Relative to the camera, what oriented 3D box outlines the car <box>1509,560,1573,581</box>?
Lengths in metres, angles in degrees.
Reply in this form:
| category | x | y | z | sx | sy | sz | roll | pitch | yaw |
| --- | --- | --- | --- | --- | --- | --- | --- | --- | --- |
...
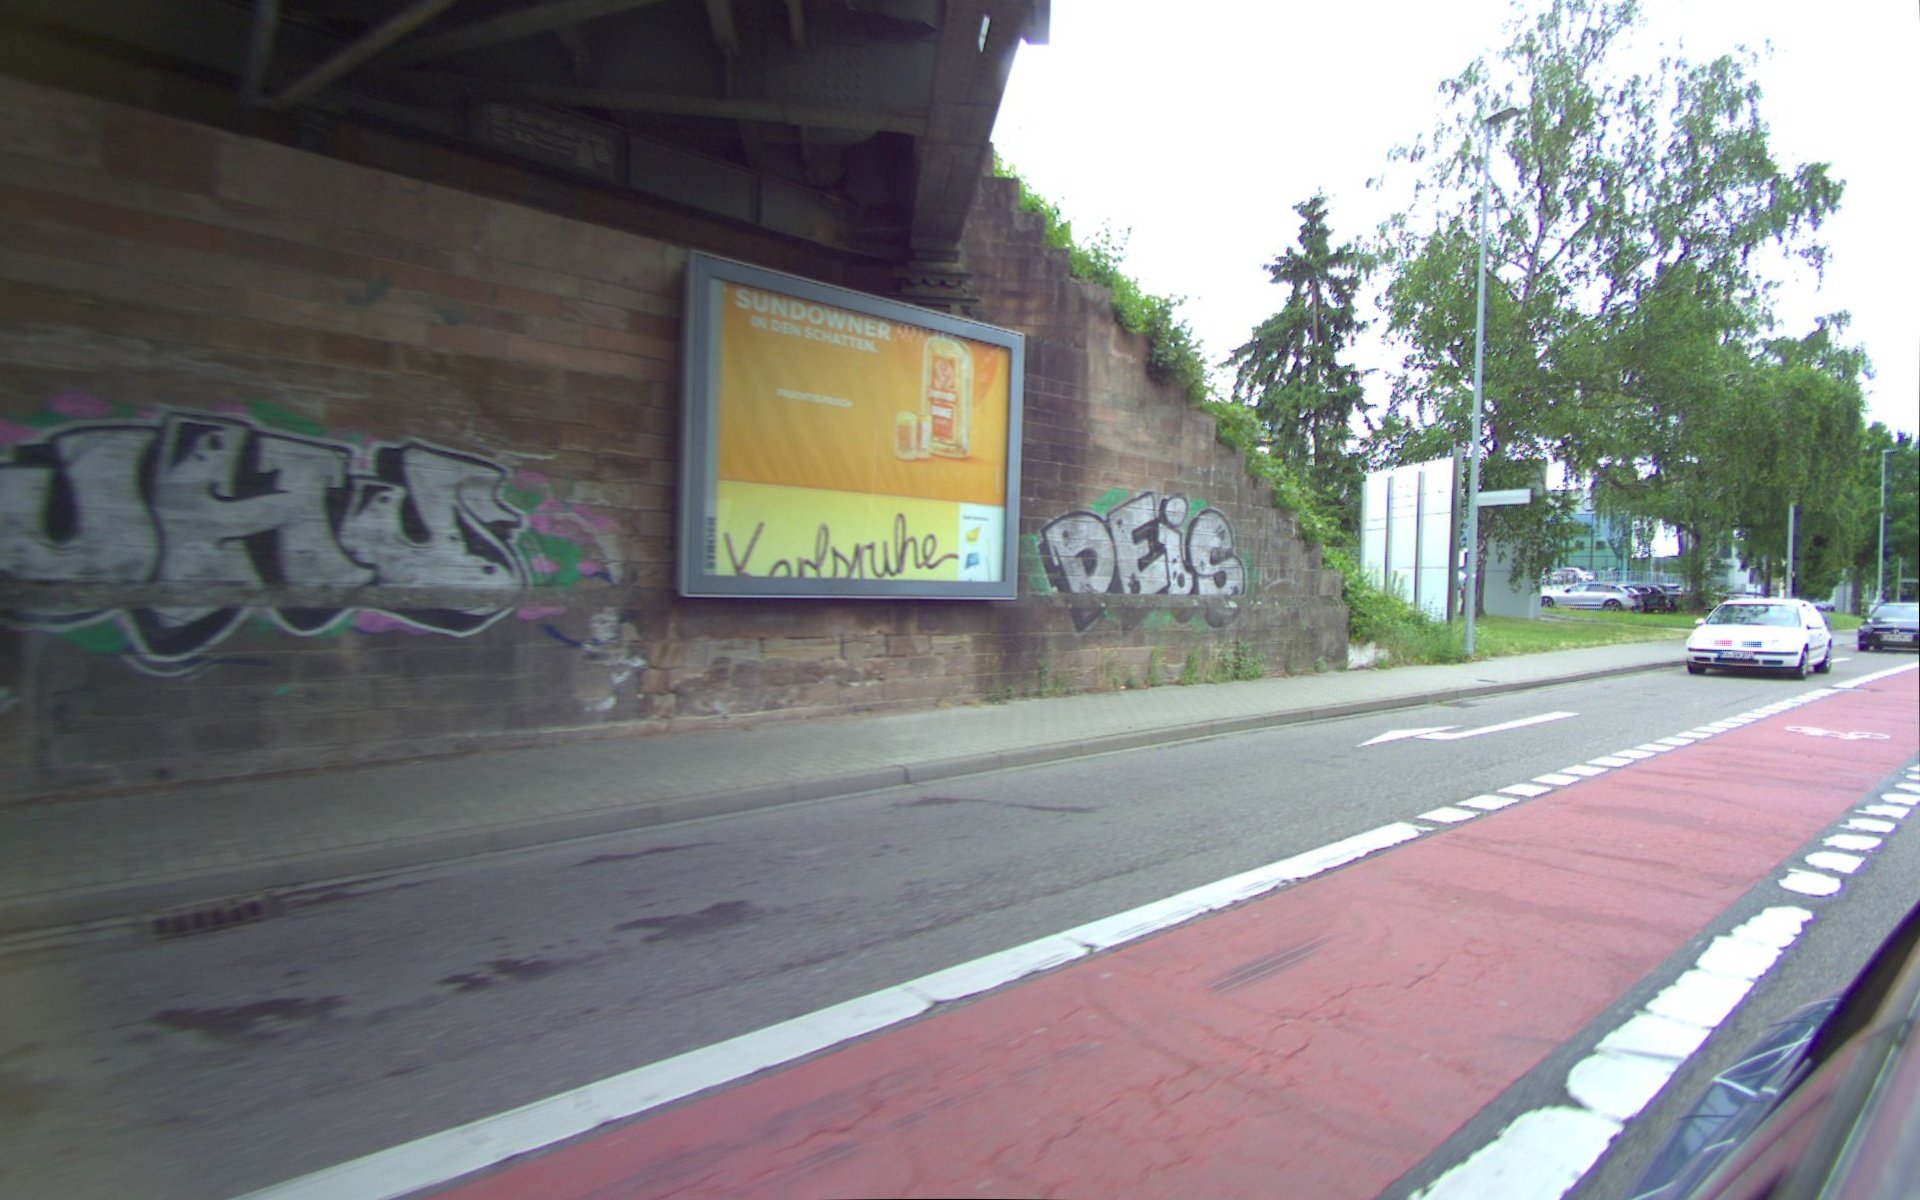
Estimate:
| category | x | y | z | sx | sy | sz | roll | pitch | yaw |
| --- | --- | --- | --- | --- | --- | --- | --- | --- | --- |
| car | 49.207 | -2.506 | 85.728 | 1.861 | 1.612 | 4.306 | 1 | -1 | -39 |

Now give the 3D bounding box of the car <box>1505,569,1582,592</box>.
| category | x | y | z | sx | sy | sz | roll | pitch | yaw |
| --- | --- | --- | --- | --- | --- | --- | --- | --- | --- |
| car | 40.528 | -1.339 | 70.371 | 1.869 | 1.525 | 4.304 | 1 | 1 | -41 |

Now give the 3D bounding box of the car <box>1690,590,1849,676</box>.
| category | x | y | z | sx | sy | sz | roll | pitch | yaw |
| --- | --- | --- | --- | --- | --- | --- | --- | --- | --- |
| car | 15.449 | 0.571 | 19.246 | 3.872 | 1.442 | 1.725 | 1 | 1 | -42 |

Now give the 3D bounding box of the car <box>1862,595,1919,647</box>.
| category | x | y | z | sx | sy | sz | roll | pitch | yaw |
| --- | --- | --- | --- | --- | --- | --- | --- | --- | --- |
| car | 28.030 | 0.598 | 29.715 | 3.930 | 1.442 | 1.835 | 1 | 1 | -41 |

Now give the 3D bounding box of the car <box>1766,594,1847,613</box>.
| category | x | y | z | sx | sy | sz | roll | pitch | yaw |
| --- | --- | --- | --- | --- | --- | --- | --- | --- | --- |
| car | 68.059 | 0.302 | 81.458 | 1.869 | 1.442 | 4.759 | 1 | -1 | -41 |

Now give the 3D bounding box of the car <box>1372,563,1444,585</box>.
| category | x | y | z | sx | sy | sz | roll | pitch | yaw |
| --- | --- | --- | --- | --- | --- | --- | --- | --- | --- |
| car | 30.969 | -1.784 | 70.037 | 1.671 | 1.400 | 4.302 | 1 | -1 | -42 |

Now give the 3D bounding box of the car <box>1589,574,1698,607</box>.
| category | x | y | z | sx | sy | sz | roll | pitch | yaw |
| --- | --- | --- | --- | --- | --- | --- | --- | --- | --- |
| car | 35.433 | -0.441 | 52.540 | 1.934 | 1.621 | 4.306 | 1 | -1 | -39 |

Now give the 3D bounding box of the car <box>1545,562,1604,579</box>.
| category | x | y | z | sx | sy | sz | roll | pitch | yaw |
| --- | --- | --- | --- | --- | --- | --- | --- | --- | --- |
| car | 56.577 | -2.688 | 93.238 | 1.801 | 1.381 | 4.302 | 1 | -1 | -42 |

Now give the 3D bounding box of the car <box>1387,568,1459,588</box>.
| category | x | y | z | sx | sy | sz | roll | pitch | yaw |
| --- | --- | --- | --- | --- | --- | --- | --- | --- | --- |
| car | 32.689 | -1.544 | 71.473 | 1.801 | 1.263 | 4.302 | 1 | -1 | -42 |

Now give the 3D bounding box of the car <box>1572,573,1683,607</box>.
| category | x | y | z | sx | sy | sz | roll | pitch | yaw |
| --- | --- | --- | --- | --- | --- | --- | --- | --- | --- |
| car | 33.402 | -0.454 | 50.719 | 1.936 | 1.621 | 4.302 | 1 | -1 | -43 |

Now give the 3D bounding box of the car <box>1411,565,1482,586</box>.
| category | x | y | z | sx | sy | sz | roll | pitch | yaw |
| --- | --- | --- | --- | --- | --- | --- | --- | --- | --- |
| car | 34.933 | -1.735 | 72.756 | 1.801 | 1.389 | 4.302 | 1 | -1 | -42 |

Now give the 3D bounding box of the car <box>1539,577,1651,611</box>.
| category | x | y | z | sx | sy | sz | roll | pitch | yaw |
| --- | --- | --- | --- | --- | --- | --- | --- | --- | --- |
| car | 30.265 | -0.306 | 48.314 | 4.299 | 1.508 | 1.712 | 2 | 1 | 44 |

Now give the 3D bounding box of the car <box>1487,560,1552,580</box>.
| category | x | y | z | sx | sy | sz | roll | pitch | yaw |
| --- | --- | --- | --- | --- | --- | --- | --- | --- | --- |
| car | 45.499 | -2.420 | 82.325 | 1.801 | 1.531 | 4.302 | 1 | -1 | -42 |

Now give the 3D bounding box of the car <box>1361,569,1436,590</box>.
| category | x | y | z | sx | sy | sz | roll | pitch | yaw |
| --- | --- | --- | --- | --- | --- | --- | --- | --- | --- |
| car | 29.689 | -1.380 | 68.588 | 1.801 | 1.306 | 4.302 | 1 | -1 | -42 |

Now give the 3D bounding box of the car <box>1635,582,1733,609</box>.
| category | x | y | z | sx | sy | sz | roll | pitch | yaw |
| --- | --- | --- | --- | --- | --- | --- | --- | --- | --- |
| car | 39.435 | -0.227 | 55.179 | 1.777 | 1.396 | 4.004 | 1 | -1 | -38 |

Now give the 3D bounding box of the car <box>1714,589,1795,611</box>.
| category | x | y | z | sx | sy | sz | roll | pitch | yaw |
| --- | --- | --- | --- | --- | --- | --- | --- | --- | --- |
| car | 54.979 | 0.016 | 70.071 | 1.708 | 1.450 | 4.195 | 1 | -1 | -41 |

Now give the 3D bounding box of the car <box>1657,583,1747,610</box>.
| category | x | y | z | sx | sy | sz | roll | pitch | yaw |
| --- | --- | --- | --- | --- | --- | --- | --- | --- | --- |
| car | 41.684 | -0.187 | 56.916 | 1.919 | 1.441 | 3.756 | 1 | -1 | -42 |

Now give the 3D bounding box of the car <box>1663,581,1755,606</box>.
| category | x | y | z | sx | sy | sz | roll | pitch | yaw |
| --- | --- | --- | --- | --- | --- | --- | --- | --- | --- |
| car | 43.600 | -0.353 | 58.955 | 1.868 | 1.371 | 4.000 | 1 | -1 | -39 |

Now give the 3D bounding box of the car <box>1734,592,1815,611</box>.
| category | x | y | z | sx | sy | sz | roll | pitch | yaw |
| --- | --- | --- | --- | --- | --- | --- | --- | --- | --- |
| car | 58.683 | 0.114 | 72.967 | 1.708 | 1.375 | 4.304 | 1 | -1 | -41 |

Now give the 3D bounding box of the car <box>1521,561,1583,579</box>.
| category | x | y | z | sx | sy | sz | roll | pitch | yaw |
| --- | --- | --- | --- | --- | --- | --- | --- | --- | --- |
| car | 51.120 | -2.581 | 87.486 | 1.801 | 1.381 | 4.302 | 1 | -1 | -42 |

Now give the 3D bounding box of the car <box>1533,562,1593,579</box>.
| category | x | y | z | sx | sy | sz | roll | pitch | yaw |
| --- | --- | --- | --- | --- | --- | --- | --- | --- | --- |
| car | 54.489 | -2.648 | 91.478 | 1.801 | 1.381 | 4.302 | 1 | -1 | -42 |
